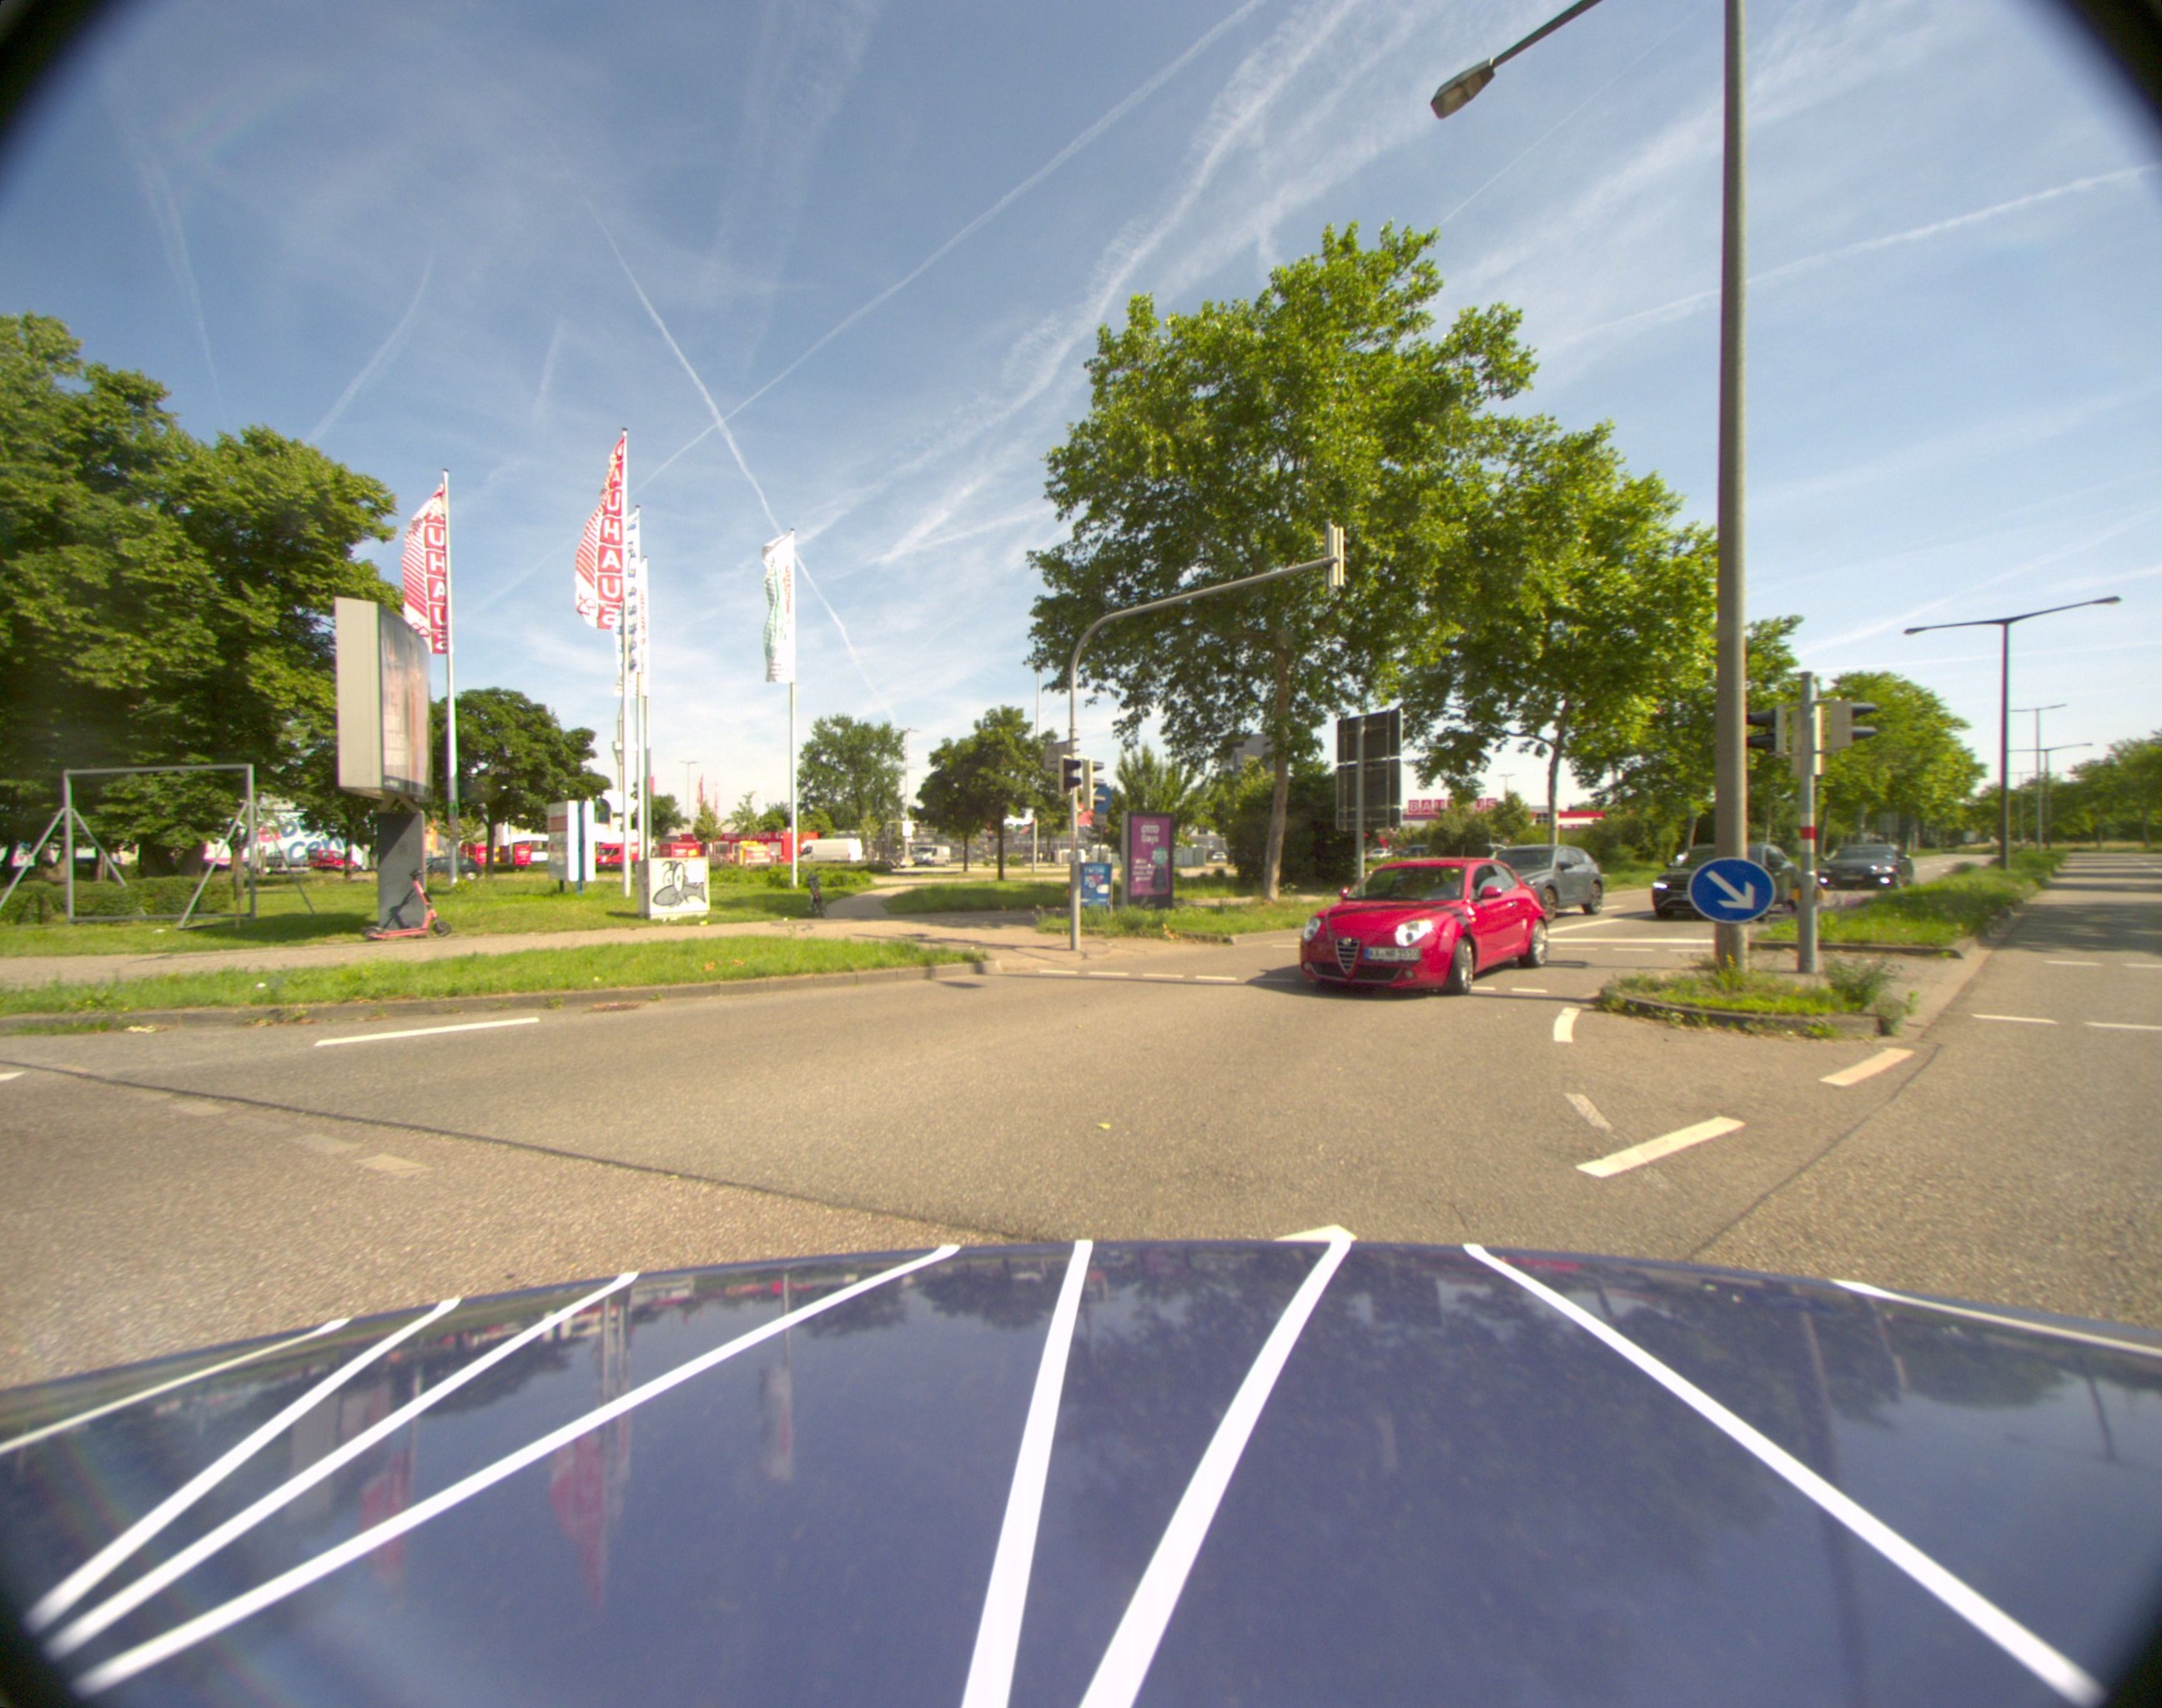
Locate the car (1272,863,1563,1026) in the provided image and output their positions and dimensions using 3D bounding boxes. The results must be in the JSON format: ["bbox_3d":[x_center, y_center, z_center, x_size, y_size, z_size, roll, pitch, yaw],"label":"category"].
[{"bbox_3d":[4.126,0.883,9.012,3.916,1.430,1.655,-1,-1,-42],"label":"car"}]

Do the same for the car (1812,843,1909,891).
[{"bbox_3d":[26.124,0.408,25.414,4.586,1.420,1.714,-1,-1,-38],"label":"car"}]

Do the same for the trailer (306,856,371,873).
[{"bbox_3d":[-59.527,0.826,60.956,4.403,1.279,1.592,-1,1,14],"label":"trailer"}]

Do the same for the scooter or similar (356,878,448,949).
[{"bbox_3d":[-11.616,0.992,13.040,1.126,1.120,0.424,-1,2,-38],"label":"scooter or similar"}]

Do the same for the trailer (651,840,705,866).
[{"bbox_3d":[-37.994,-0.113,71.754,1.747,2.363,4.418,1,1,21],"label":"trailer"}]

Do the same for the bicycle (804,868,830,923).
[{"bbox_3d":[-6.087,0.927,17.582,0.504,1.102,1.788,-1,2,-18],"label":"bicycle"}]

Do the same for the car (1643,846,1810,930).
[{"bbox_3d":[13.899,0.635,16.305,4.089,1.536,1.870,-1,1,-37],"label":"car"}]

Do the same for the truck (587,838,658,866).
[{"bbox_3d":[-43.774,-0.179,72.688,2.015,2.594,6.037,0,0,15],"label":"truck"}]

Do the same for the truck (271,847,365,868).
[{"bbox_3d":[-73.288,0.330,73.129,2.183,1.820,6.014,-2,-1,19],"label":"truck"}]

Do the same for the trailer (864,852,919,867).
[{"bbox_3d":[-16.197,0.467,64.947,4.022,1.116,2.071,0,3,19],"label":"trailer"}]

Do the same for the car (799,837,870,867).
[{"bbox_3d":[-21.574,-0.199,66.548,5.677,2.528,2.021,0,3,15],"label":"car"}]

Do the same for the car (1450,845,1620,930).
[{"bbox_3d":[10.443,0.679,17.356,4.504,1.649,1.767,-1,-1,-38],"label":"car"}]

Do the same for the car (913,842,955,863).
[{"bbox_3d":[-13.659,-0.132,70.733,1.871,1.805,4.836,1,0,15],"label":"car"}]

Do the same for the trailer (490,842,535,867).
[{"bbox_3d":[-55.853,0.048,74.664,4.400,2.344,1.553,0,1,23],"label":"trailer"}]

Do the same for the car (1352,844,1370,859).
[{"bbox_3d":[30.632,-0.293,83.163,1.686,1.565,4.005,0,1,17],"label":"car"}]

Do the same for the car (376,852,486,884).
[{"bbox_3d":[-34.652,0.712,40.646,1.726,1.578,4.057,0,1,25],"label":"car"}]

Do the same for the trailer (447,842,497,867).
[{"bbox_3d":[-57.594,0.044,71.890,4.401,2.363,1.593,0,1,20],"label":"trailer"}]

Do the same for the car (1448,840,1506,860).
[{"bbox_3d":[31.943,-0.323,61.341,3.855,1.576,1.851,-1,1,15],"label":"car"}]

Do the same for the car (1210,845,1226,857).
[{"bbox_3d":[19.039,-0.374,105.212,1.686,1.565,4.005,0,1,17],"label":"car"}]

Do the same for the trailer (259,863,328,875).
[{"bbox_3d":[-59.939,1.131,57.819,4.401,0.777,2.103,0,1,22],"label":"trailer"}]
